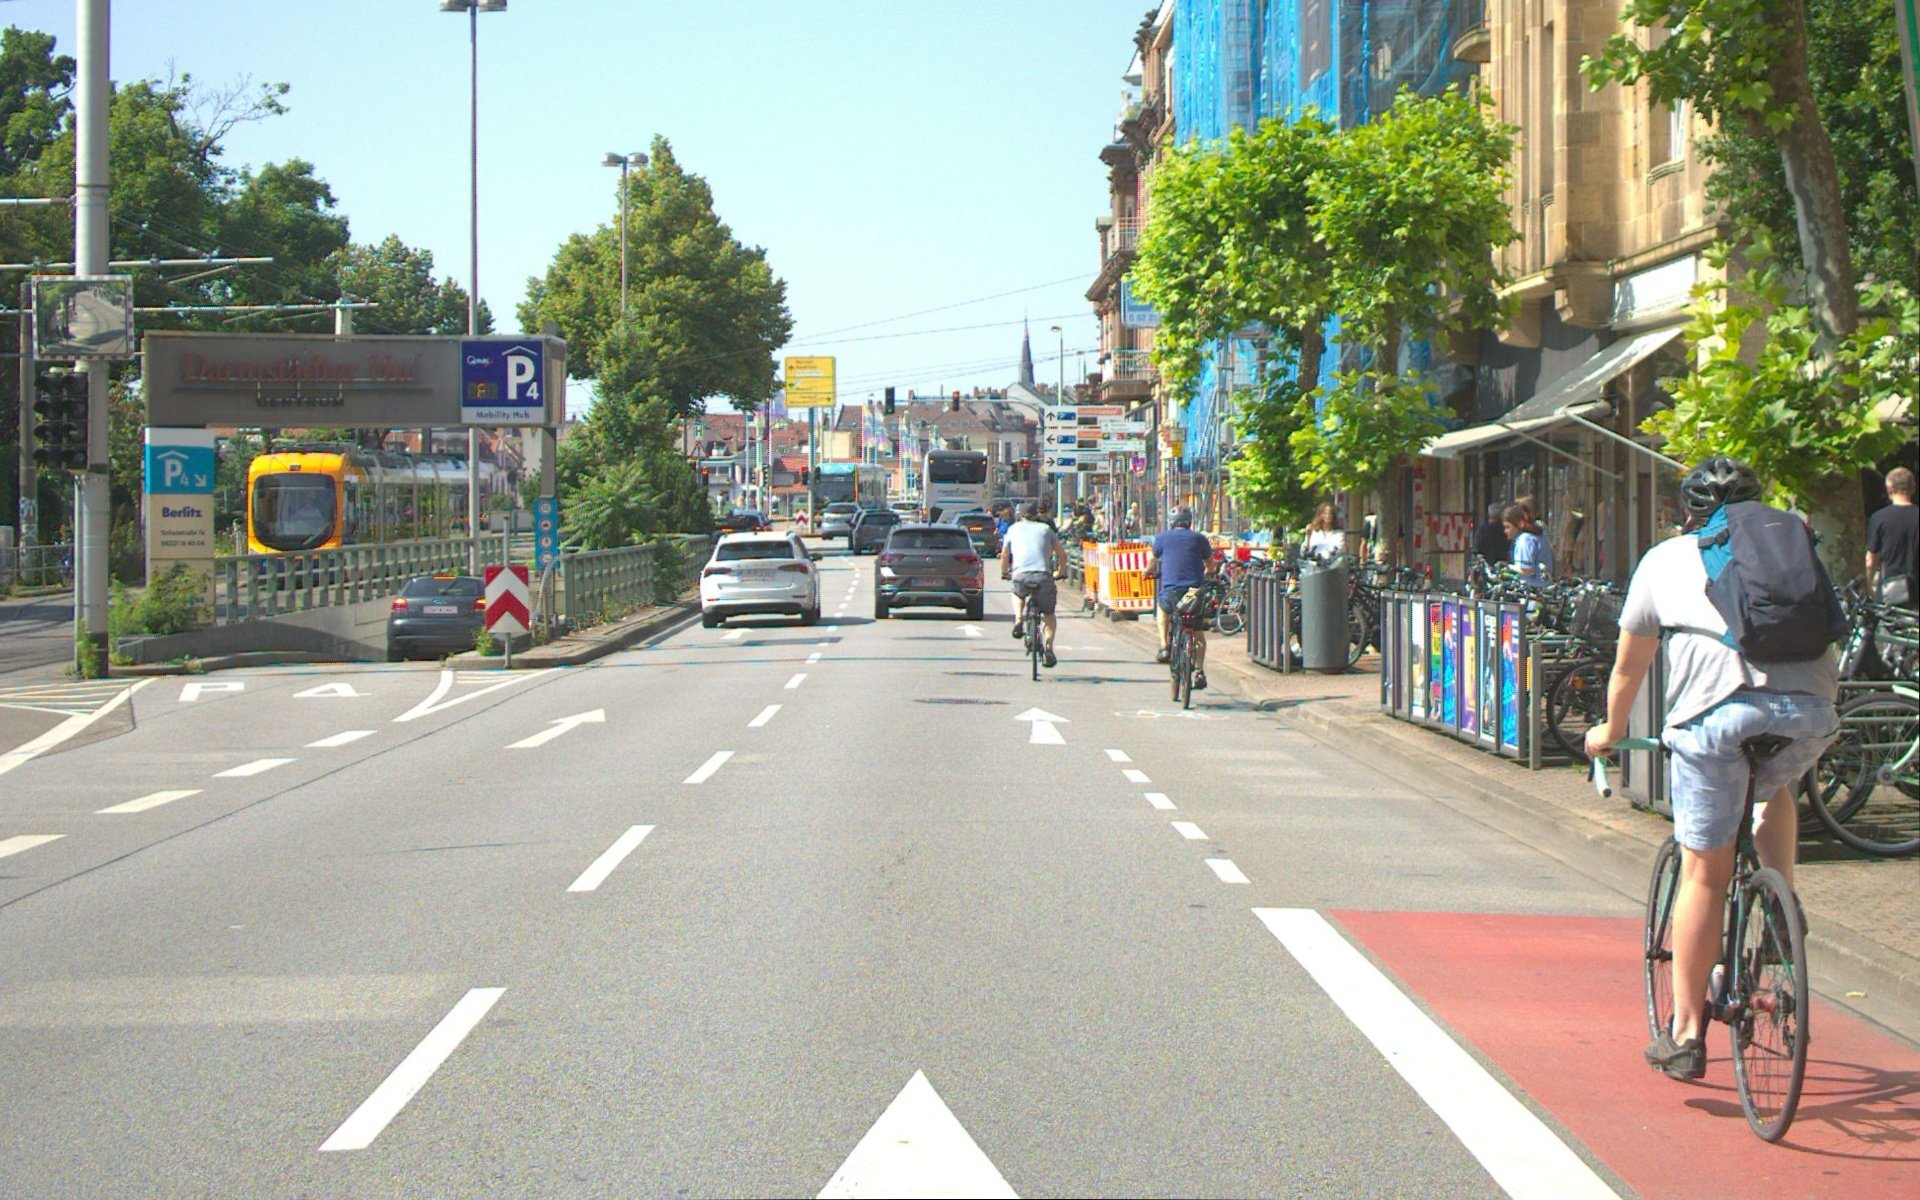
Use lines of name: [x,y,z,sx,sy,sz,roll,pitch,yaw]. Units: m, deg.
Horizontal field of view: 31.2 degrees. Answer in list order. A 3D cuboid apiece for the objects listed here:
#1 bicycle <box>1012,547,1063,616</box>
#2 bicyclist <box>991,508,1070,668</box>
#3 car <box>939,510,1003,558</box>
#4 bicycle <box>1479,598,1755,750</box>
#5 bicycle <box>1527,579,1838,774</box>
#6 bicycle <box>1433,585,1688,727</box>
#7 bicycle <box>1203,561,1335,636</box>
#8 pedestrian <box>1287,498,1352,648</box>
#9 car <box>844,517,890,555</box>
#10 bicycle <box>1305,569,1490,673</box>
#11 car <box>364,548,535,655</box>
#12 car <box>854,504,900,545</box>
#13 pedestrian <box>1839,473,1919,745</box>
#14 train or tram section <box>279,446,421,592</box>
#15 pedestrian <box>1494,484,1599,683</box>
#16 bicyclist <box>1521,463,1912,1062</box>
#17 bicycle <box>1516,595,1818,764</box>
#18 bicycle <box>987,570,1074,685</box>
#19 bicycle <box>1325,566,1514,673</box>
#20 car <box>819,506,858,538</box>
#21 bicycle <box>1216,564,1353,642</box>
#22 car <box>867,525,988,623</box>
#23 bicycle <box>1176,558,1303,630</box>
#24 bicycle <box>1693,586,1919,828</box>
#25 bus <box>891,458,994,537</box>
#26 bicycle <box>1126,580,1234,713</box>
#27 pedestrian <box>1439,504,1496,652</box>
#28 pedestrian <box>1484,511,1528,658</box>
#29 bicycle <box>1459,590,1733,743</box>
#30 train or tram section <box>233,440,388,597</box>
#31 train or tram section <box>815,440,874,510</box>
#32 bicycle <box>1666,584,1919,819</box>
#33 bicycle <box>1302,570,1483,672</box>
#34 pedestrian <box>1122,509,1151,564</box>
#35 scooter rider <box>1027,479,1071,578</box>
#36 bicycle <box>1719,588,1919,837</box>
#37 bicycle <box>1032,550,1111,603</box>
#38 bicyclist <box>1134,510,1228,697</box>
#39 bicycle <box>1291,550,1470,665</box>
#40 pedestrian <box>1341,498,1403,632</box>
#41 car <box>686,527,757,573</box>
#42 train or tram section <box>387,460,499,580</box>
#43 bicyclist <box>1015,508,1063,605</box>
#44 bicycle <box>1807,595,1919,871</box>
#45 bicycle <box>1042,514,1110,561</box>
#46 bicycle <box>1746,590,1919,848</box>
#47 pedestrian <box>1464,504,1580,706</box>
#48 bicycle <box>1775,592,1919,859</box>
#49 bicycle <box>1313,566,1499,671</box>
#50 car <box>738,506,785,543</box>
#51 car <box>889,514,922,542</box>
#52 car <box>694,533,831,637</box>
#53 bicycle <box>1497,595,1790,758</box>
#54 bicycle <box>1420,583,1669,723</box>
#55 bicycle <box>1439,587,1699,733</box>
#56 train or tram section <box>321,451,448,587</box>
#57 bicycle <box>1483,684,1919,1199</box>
bicycle: [1.280,-0.320,57.135,0.734,1.089,1.898,2,1,-1]
bicyclist: [0.705,-0.132,34.811,0.688,1.571,1.049,2,1,-2]
car: [0.367,-2.141,111.296,1.993,1.487,4.000,2,1,0]
bicycle: [4.334,0.486,22.717,1.717,0.981,0.483,0,1,-2]
bicycle: [4.324,0.454,20.628,1.752,1.143,0.483,0,1,-2]
bicycle: [4.356,0.403,24.984,1.752,1.014,0.483,0,1,-2]
bicycle: [4.244,-0.028,47.321,1.752,1.014,0.483,0,1,-2]
pedestrian: [4.062,-0.305,38.905,0.656,1.677,0.653,0,0,-1]
car: [-3.400,-2.337,125.002,1.451,1.296,3.342,2,1,-5]
bicycle: [4.376,0.206,34.434,1.752,1.014,0.587,-1,1,-2]
car: [-7.828,-0.015,53.023,1.993,1.503,4.000,2,1,0]
car: [-2.763,-2.514,114.489,1.451,1.296,3.342,2,1,-2]
pedestrian: [6.300,0.050,22.916,0.668,1.775,0.985,0,1,4]
train or tram section: [-15.791,-2.099,89.279,2.613,3.568,6.104,2,1,-1]
pedestrian: [4.906,-0.144,28.786,0.599,1.620,0.644,-3,1,-13]
bicyclist: [1.957,0.390,9.042,0.688,1.458,1.143,2,1,-2]
bicycle: [4.352,0.487,21.209,1.752,1.014,0.483,0,1,-2]
bicycle: [0.700,0.261,34.827,0.734,1.089,1.898,2,1,-2]
bicycle: [4.448,0.188,33.311,1.752,1.014,0.483,0,1,-2]
car: [-5.133,-3.323,145.887,1.451,1.296,4.000,2,1,0]
bicycle: [4.278,0.036,45.396,1.752,1.014,0.483,0,1,-2]
car: [-0.512,-0.454,56.568,1.873,1.487,4.000,2,1,0]
bicycle: [4.002,-0.090,49.268,1.752,1.014,0.483,0,1,-2]
bicycle: [4.487,0.512,16.664,1.752,1.143,0.483,0,1,-2]
bus: [-0.720,-3.808,128.295,2.968,2.767,8.643,2,1,-6]
bicycle: [1.931,0.390,30.419,0.734,1.089,1.911,2,1,-2]
pedestrian: [5.851,-0.255,39.609,0.498,1.677,0.536,-2,0,21]
pedestrian: [6.300,-0.181,39.674,0.381,1.677,0.476,-1,1,22]
bicycle: [4.311,0.450,23.348,1.752,1.014,0.483,0,1,-2]
train or tram section: [-15.646,-1.966,83.199,2.613,3.568,6.104,2,1,-1]
train or tram section: [-6.215,-6.729,186.536,2.822,3.568,10.033,2,1,0]
bicycle: [4.457,0.501,17.154,1.752,1.143,0.483,0,1,-2]
bicycle: [4.390,0.208,34.984,1.752,1.014,0.557,0,1,-2]
pedestrian: [5.454,-1.968,106.281,0.755,1.650,0.837,-3,1,-1]
scooter rider: [1.577,-1.276,60.941,0.688,1.723,0.778,2,1,-2]
bicycle: [4.503,0.523,16.157,1.752,1.143,0.483,0,1,-2]
bicycle: [2.545,-0.535,78.425,1.771,1.174,0.608,1,1,0]
bicyclist: [1.947,0.021,30.375,0.688,1.610,0.918,2,1,-2]
bicycle: [4.339,0.073,35.544,1.752,1.177,0.579,0,1,-2]
pedestrian: [5.787,-0.491,48.336,0.814,1.842,0.891,-1,1,7]
car: [-7.241,-1.544,104.671,1.815,1.327,4.000,2,1,0]
train or tram section: [-16.121,-2.495,107.578,2.613,3.568,6.018,2,1,-1]
bicyclist: [1.305,-0.732,57.174,0.688,1.571,1.049,2,1,-2]
bicycle: [4.541,0.557,14.617,1.752,1.143,0.483,0,1,-2]
bicycle: [2.971,-1.603,88.196,1.693,1.174,0.609,-1,2,0]
bicycle: [4.517,0.534,15.656,1.752,1.143,0.483,0,1,-2]
pedestrian: [4.612,0.031,28.257,0.695,1.620,0.702,-2,1,-13]
bicycle: [4.529,0.546,15.148,1.752,1.143,0.483,0,1,-2]
bicycle: [4.391,0.176,33.856,1.752,1.014,0.483,0,1,-2]
car: [-7.201,-2.742,125.077,1.451,1.296,4.000,2,1,0]
car: [-2.581,-3.417,163.546,1.451,1.296,3.342,2,1,-2]
car: [-3.070,-0.265,54.123,1.858,1.502,4.000,2,1,0]
bicycle: [4.335,0.483,21.859,1.752,1.014,0.483,0,1,-2]
bicycle: [4.335,0.391,25.529,1.752,1.014,0.483,0,1,-2]
bicycle: [4.321,0.421,24.448,1.752,1.014,0.483,0,1,-2]
train or tram section: [-15.861,-2.221,95.001,2.613,3.568,5.357,2,1,-1]
bicycle: [1.968,0.827,9.088,0.734,1.089,2.131,2,1,-2]
